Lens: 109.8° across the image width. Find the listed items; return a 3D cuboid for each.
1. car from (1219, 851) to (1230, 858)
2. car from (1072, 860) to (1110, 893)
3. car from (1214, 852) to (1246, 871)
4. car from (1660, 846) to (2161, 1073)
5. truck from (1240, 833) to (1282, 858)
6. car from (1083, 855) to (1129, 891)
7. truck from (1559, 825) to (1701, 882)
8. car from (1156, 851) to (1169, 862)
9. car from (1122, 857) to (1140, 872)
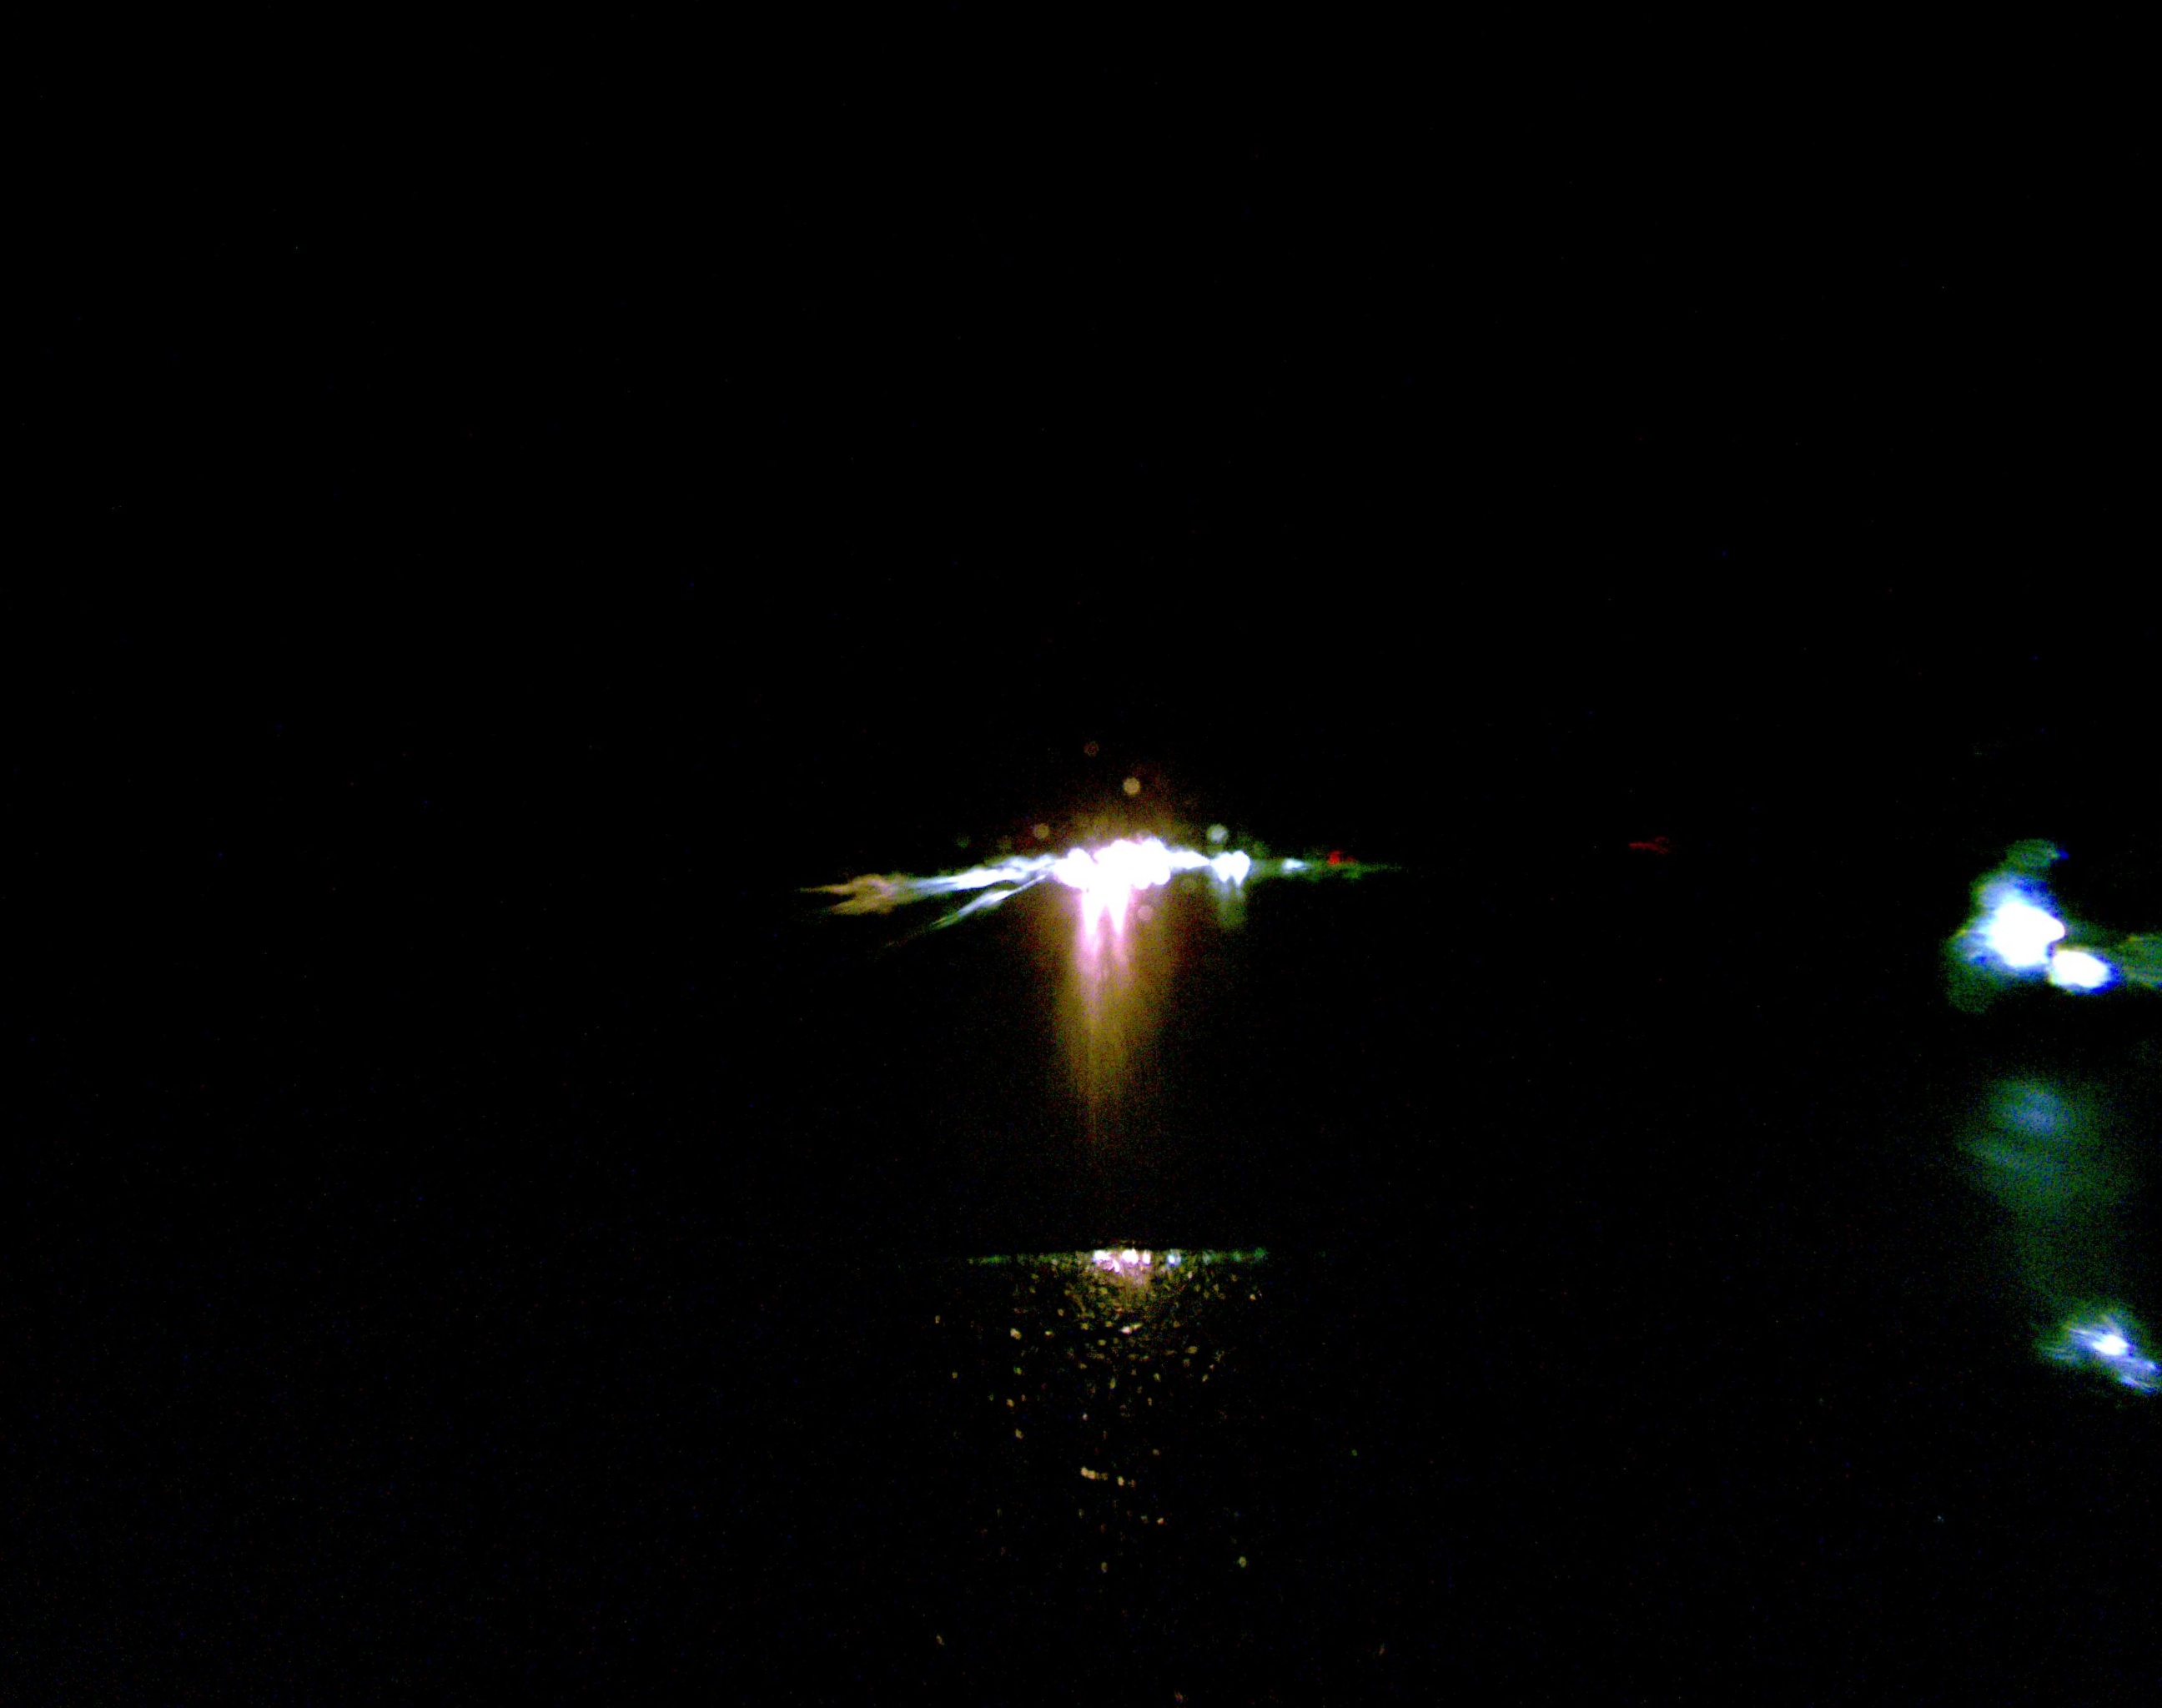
[{"bbox_3d":[34.537,0.194,182.890,1.884,1.548,4.460,-2,1,0],"label":"car"},{"bbox_3d":[0.454,0.958,33.489,1.525,1.256,3.369,-2,1,1],"label":"car"},{"bbox_3d":[12.929,0.624,66.157,1.998,1.551,4.588,-2,1,2],"label":"car"},{"bbox_3d":[7.894,0.691,7.077,1.998,1.433,4.000,-2,1,1],"label":"car"},{"bbox_3d":[30.622,-1.386,130.233,3.508,3.865,17.180,-2,1,2],"label":"truck"},{"bbox_3d":[1.160,0.907,36.128,1.998,1.542,4.001,-2,-1,1],"label":"car"},{"bbox_3d":[25.425,-0.043,35.605,1.998,2.334,6.438,-2,1,1],"label":"truck"},{"bbox_3d":[14.478,0.454,134.914,1.998,1.797,4.000,-2,1,2],"label":"car"},{"bbox_3d":[6.090,1.278,93.581,1.998,1.551,4.588,-2,1,2],"label":"car"}]
